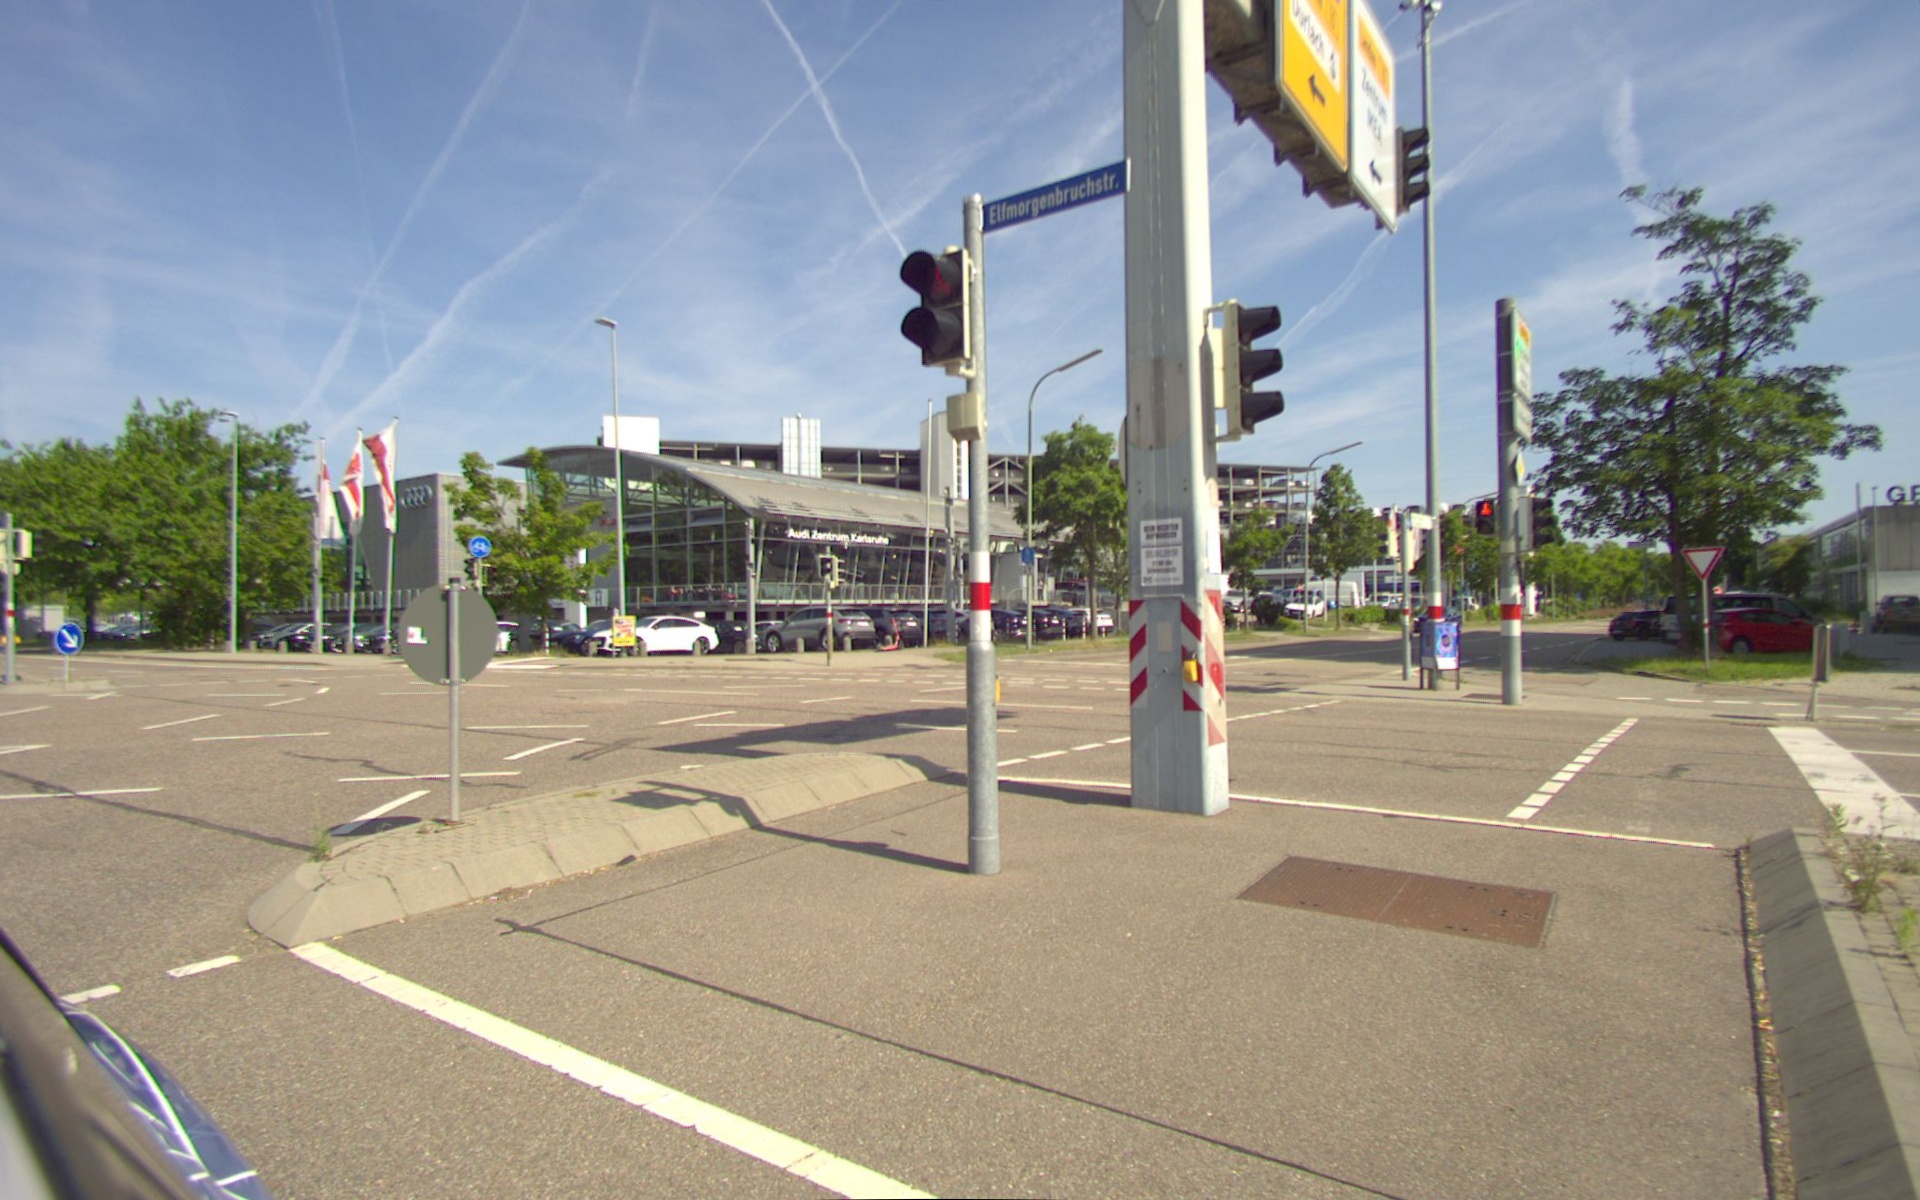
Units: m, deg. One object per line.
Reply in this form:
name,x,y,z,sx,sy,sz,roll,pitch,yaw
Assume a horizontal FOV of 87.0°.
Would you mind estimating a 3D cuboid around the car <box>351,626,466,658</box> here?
car,-23.889,1.834,43.966,1.834,1.329,3.951,-1,-4,36

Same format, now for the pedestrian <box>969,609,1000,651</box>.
pedestrian,1.059,1.285,43.619,1.002,1.763,0.906,-1,-1,36

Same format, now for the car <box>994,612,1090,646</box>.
car,3.980,1.414,49.523,4.391,1.453,1.772,-4,-3,35

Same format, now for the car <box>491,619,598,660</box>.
car,-16.249,1.515,39.496,4.415,1.507,1.782,-1,-1,36

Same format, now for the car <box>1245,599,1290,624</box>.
car,21.527,0.797,70.711,1.994,1.586,3.942,-1,0,33

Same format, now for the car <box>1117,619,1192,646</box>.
car,11.110,1.854,57.723,3.958,1.453,1.803,0,-1,-29

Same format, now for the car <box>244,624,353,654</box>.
car,-32.980,1.955,50.547,1.798,1.405,4.180,-1,-4,34

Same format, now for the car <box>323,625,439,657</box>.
car,-26.118,1.887,45.755,1.850,1.345,4.139,-1,-4,34

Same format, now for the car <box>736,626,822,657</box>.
car,-8.739,1.971,48.708,4.055,1.389,1.772,-1,-1,35

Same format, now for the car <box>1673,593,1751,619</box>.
car,72.281,0.583,97.326,5.899,2.450,2.345,-1,-1,39

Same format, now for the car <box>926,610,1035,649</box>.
car,0.882,1.339,45.242,4.662,1.529,1.763,-4,-3,35

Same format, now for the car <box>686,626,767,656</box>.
car,-10.803,1.882,46.693,3.674,1.316,1.592,-1,-1,35

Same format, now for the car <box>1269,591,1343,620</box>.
car,25.245,0.421,73.860,4.739,2.029,1.977,-1,-1,34

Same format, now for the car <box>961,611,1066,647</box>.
car,2.452,1.365,47.287,4.620,1.453,1.772,-4,-3,35

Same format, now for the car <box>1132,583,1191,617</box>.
car,12.746,-0.037,63.737,2.083,1.922,4.497,3,2,33

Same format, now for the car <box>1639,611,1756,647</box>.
car,32.089,1.254,44.092,3.937,1.426,1.723,-1,-1,-7

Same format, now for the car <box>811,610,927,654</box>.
car,-3.459,1.211,38.356,4.190,1.453,1.772,-4,-3,35

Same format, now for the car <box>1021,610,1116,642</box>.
car,5.516,1.360,51.732,4.548,1.453,1.772,-4,-3,35

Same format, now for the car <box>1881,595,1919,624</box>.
car,58.146,0.586,62.341,1.747,1.696,3.949,-1,0,38

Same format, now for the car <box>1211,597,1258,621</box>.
car,19.652,0.629,72.459,1.996,1.586,3.938,-1,0,36

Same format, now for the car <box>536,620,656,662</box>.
car,-13.064,1.439,36.483,1.759,1.413,3.803,-1,-1,33

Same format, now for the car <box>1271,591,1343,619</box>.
car,26.087,0.384,76.068,4.739,2.029,1.977,-1,-1,34

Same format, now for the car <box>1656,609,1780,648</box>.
car,30.899,1.160,41.307,3.937,1.491,1.692,-1,-1,-7

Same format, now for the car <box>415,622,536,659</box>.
car,-19.592,1.669,41.067,1.873,1.380,4.037,-1,-4,34

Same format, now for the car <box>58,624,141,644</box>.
car,-60.857,2.414,71.624,1.687,1.265,4.149,-1,-4,36

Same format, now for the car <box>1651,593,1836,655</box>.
car,25.169,0.774,32.590,4.737,1.835,1.901,-1,-1,-8

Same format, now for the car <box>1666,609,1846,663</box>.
car,23.162,1.030,29.527,3.967,1.426,1.810,-1,-1,-7

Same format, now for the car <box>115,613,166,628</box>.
car,-92.042,2.304,113.662,1.687,1.511,4.149,-1,-4,36

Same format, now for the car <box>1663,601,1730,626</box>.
car,58.132,1.069,79.984,4.230,1.954,1.877,-1,-1,36

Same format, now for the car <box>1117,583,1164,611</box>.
car,15.424,-0.228,86.193,2.154,2.295,4.634,-1,-1,35

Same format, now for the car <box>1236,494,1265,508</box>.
car,45.864,-15.631,159.704,3.985,1.729,2.016,-1,-1,31

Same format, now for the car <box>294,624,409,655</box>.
car,-28.502,1.871,47.531,1.825,1.365,4.245,-1,-4,33

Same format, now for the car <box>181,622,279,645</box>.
car,-41.679,1.936,57.858,1.793,1.236,4.149,-1,-4,36

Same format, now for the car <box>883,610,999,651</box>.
car,-0.865,1.301,43.026,4.765,1.517,1.772,-4,-3,35

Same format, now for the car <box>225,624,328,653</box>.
car,-35.156,1.988,52.166,1.804,1.413,3.991,-1,-4,34

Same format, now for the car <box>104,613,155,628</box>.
car,-94.250,2.359,114.927,1.687,1.511,4.149,-1,-4,36

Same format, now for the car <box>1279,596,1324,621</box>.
car,23.465,0.568,69.399,1.994,1.586,3.942,-1,1,33

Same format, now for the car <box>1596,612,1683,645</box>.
car,31.634,1.306,47.107,3.553,1.426,1.677,-1,-1,-24

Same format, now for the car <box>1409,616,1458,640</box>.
car,27.077,1.590,57.866,1.658,1.299,3.754,-1,-1,39

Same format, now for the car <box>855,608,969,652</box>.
car,-1.961,1.217,40.718,4.365,1.556,1.772,-4,-3,35

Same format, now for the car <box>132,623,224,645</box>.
car,-48.316,2.121,62.579,1.687,1.256,4.149,-1,-4,36

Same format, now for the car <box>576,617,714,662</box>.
car,-10.898,1.330,35.247,1.896,1.443,4.332,-1,-1,37

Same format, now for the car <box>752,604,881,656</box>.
car,-5.205,1.109,36.345,4.585,1.626,1.797,-5,-3,36

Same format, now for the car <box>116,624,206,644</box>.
car,-50.406,2.156,63.935,1.687,1.204,4.149,-1,-4,36

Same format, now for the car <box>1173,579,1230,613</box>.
car,17.691,-0.328,73.966,2.084,2.360,5.484,-2,0,36

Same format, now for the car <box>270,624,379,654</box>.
car,-30.737,1.893,49.043,1.830,1.365,4.077,-1,-4,33

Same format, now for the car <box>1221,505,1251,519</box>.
car,41.159,-13.088,150.862,3.985,1.729,2.016,-1,-1,31

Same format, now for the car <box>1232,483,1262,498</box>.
car,42.774,-16.358,150.896,3.985,1.729,2.016,-1,-1,31

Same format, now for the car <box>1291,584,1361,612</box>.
car,28.259,-0.123,78.193,4.739,2.029,1.977,-1,-1,34

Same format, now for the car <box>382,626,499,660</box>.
car,-21.764,1.826,42.529,1.864,1.329,3.952,-1,-4,35
